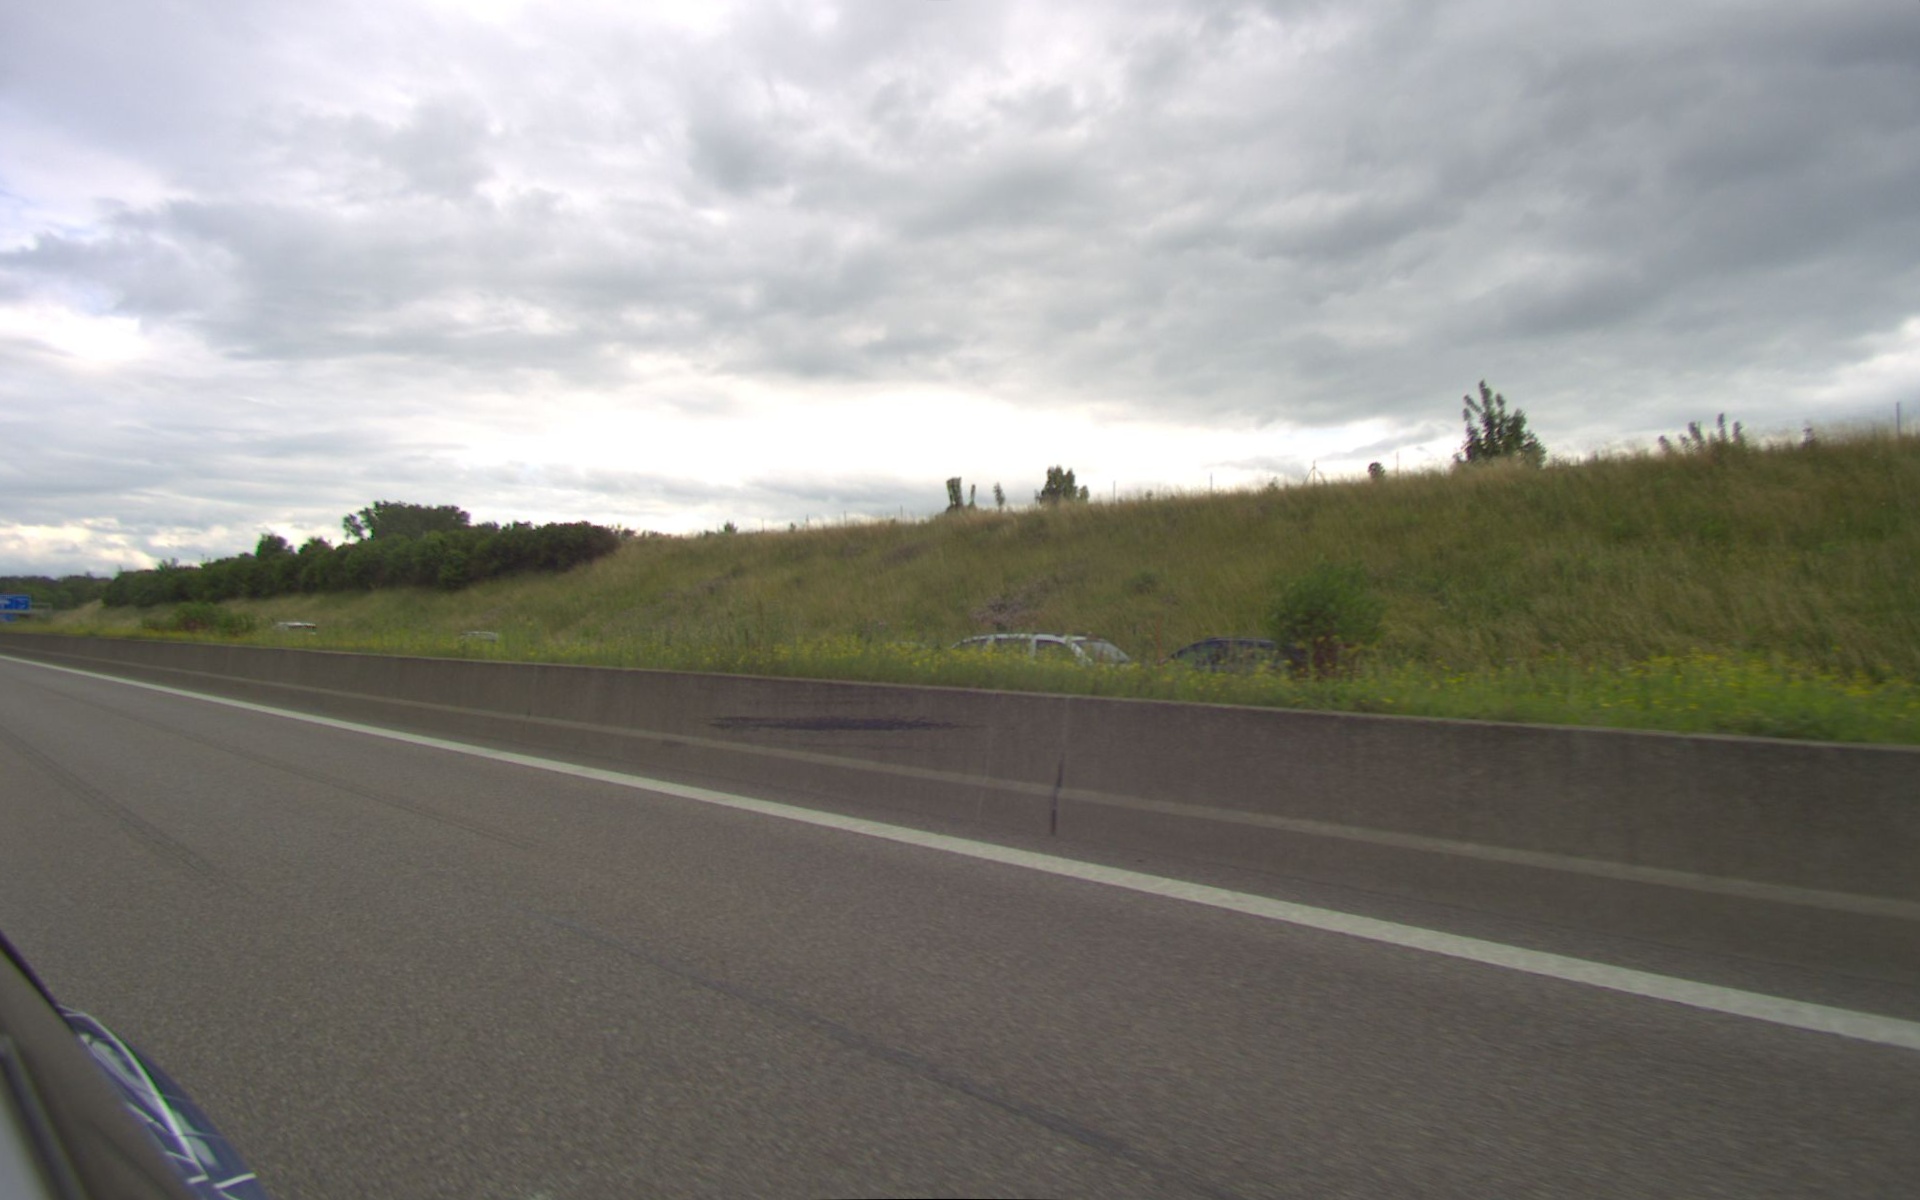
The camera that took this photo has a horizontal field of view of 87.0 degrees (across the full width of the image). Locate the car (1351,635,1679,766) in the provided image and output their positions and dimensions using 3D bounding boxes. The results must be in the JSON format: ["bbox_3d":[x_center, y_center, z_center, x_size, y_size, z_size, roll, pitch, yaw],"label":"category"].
[{"bbox_3d":[6.038,1.011,11.137,2.924,1.216,1.472,-1,-2,41],"label":"car"}]

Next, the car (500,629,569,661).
[{"bbox_3d":[-16.986,1.789,40.374,2.713,1.216,1.472,-1,-2,41],"label":"car"}]

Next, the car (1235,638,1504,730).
[{"bbox_3d":[6.175,1.203,15.460,3.532,1.216,1.472,-1,-2,41],"label":"car"}]
